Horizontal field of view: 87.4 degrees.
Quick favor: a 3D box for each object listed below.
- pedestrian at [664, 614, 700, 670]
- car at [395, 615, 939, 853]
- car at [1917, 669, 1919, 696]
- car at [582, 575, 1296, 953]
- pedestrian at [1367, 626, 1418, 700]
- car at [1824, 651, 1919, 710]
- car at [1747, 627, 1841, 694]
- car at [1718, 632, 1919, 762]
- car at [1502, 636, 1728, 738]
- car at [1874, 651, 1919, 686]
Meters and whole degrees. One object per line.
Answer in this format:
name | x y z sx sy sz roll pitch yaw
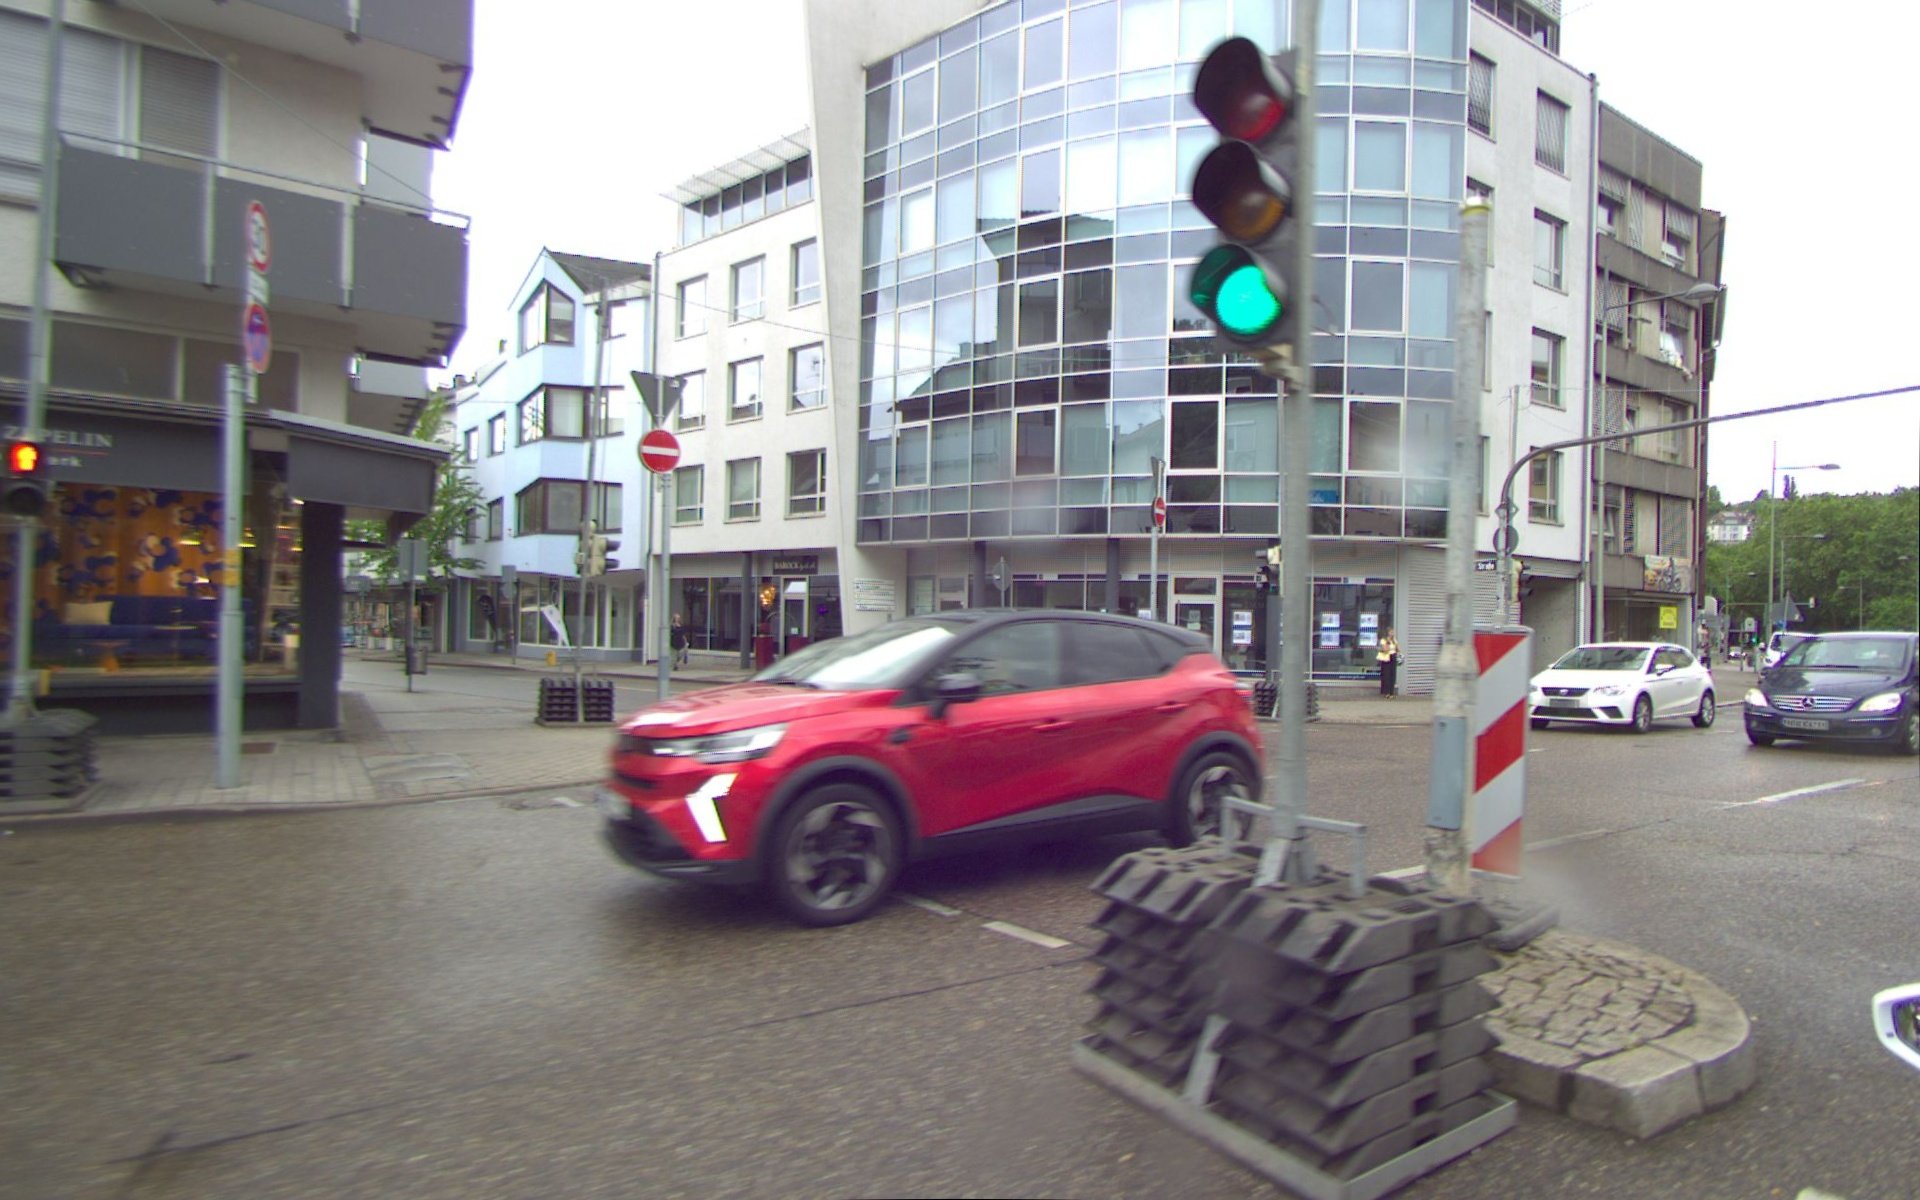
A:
pedestrian | -8.616 1.298 31.140 0.554 1.675 0.893 -1 2 39
car | -2.327 0.969 8.276 3.956 1.516 1.837 2 -4 -33
car | 51.261 4.328 52.183 1.662 1.492 3.986 -3 -4 37
car | -0.014 0.793 6.189 4.046 1.615 1.837 2 -3 -33
pedestrian | 9.615 1.389 22.342 0.818 1.629 0.625 1 -1 -12
car | 25.700 2.195 27.886 4.568 1.493 1.912 3 -5 -41
car | 29.165 2.133 35.065 2.096 2.041 5.099 4 -1 44
car | 12.686 1.271 14.214 4.238 1.563 1.819 2 -2 -33
car | 11.257 1.419 17.187 4.240 1.543 1.761 2 -3 -35
car | 39.336 2.821 41.672 1.700 1.418 3.582 -2 -4 37
